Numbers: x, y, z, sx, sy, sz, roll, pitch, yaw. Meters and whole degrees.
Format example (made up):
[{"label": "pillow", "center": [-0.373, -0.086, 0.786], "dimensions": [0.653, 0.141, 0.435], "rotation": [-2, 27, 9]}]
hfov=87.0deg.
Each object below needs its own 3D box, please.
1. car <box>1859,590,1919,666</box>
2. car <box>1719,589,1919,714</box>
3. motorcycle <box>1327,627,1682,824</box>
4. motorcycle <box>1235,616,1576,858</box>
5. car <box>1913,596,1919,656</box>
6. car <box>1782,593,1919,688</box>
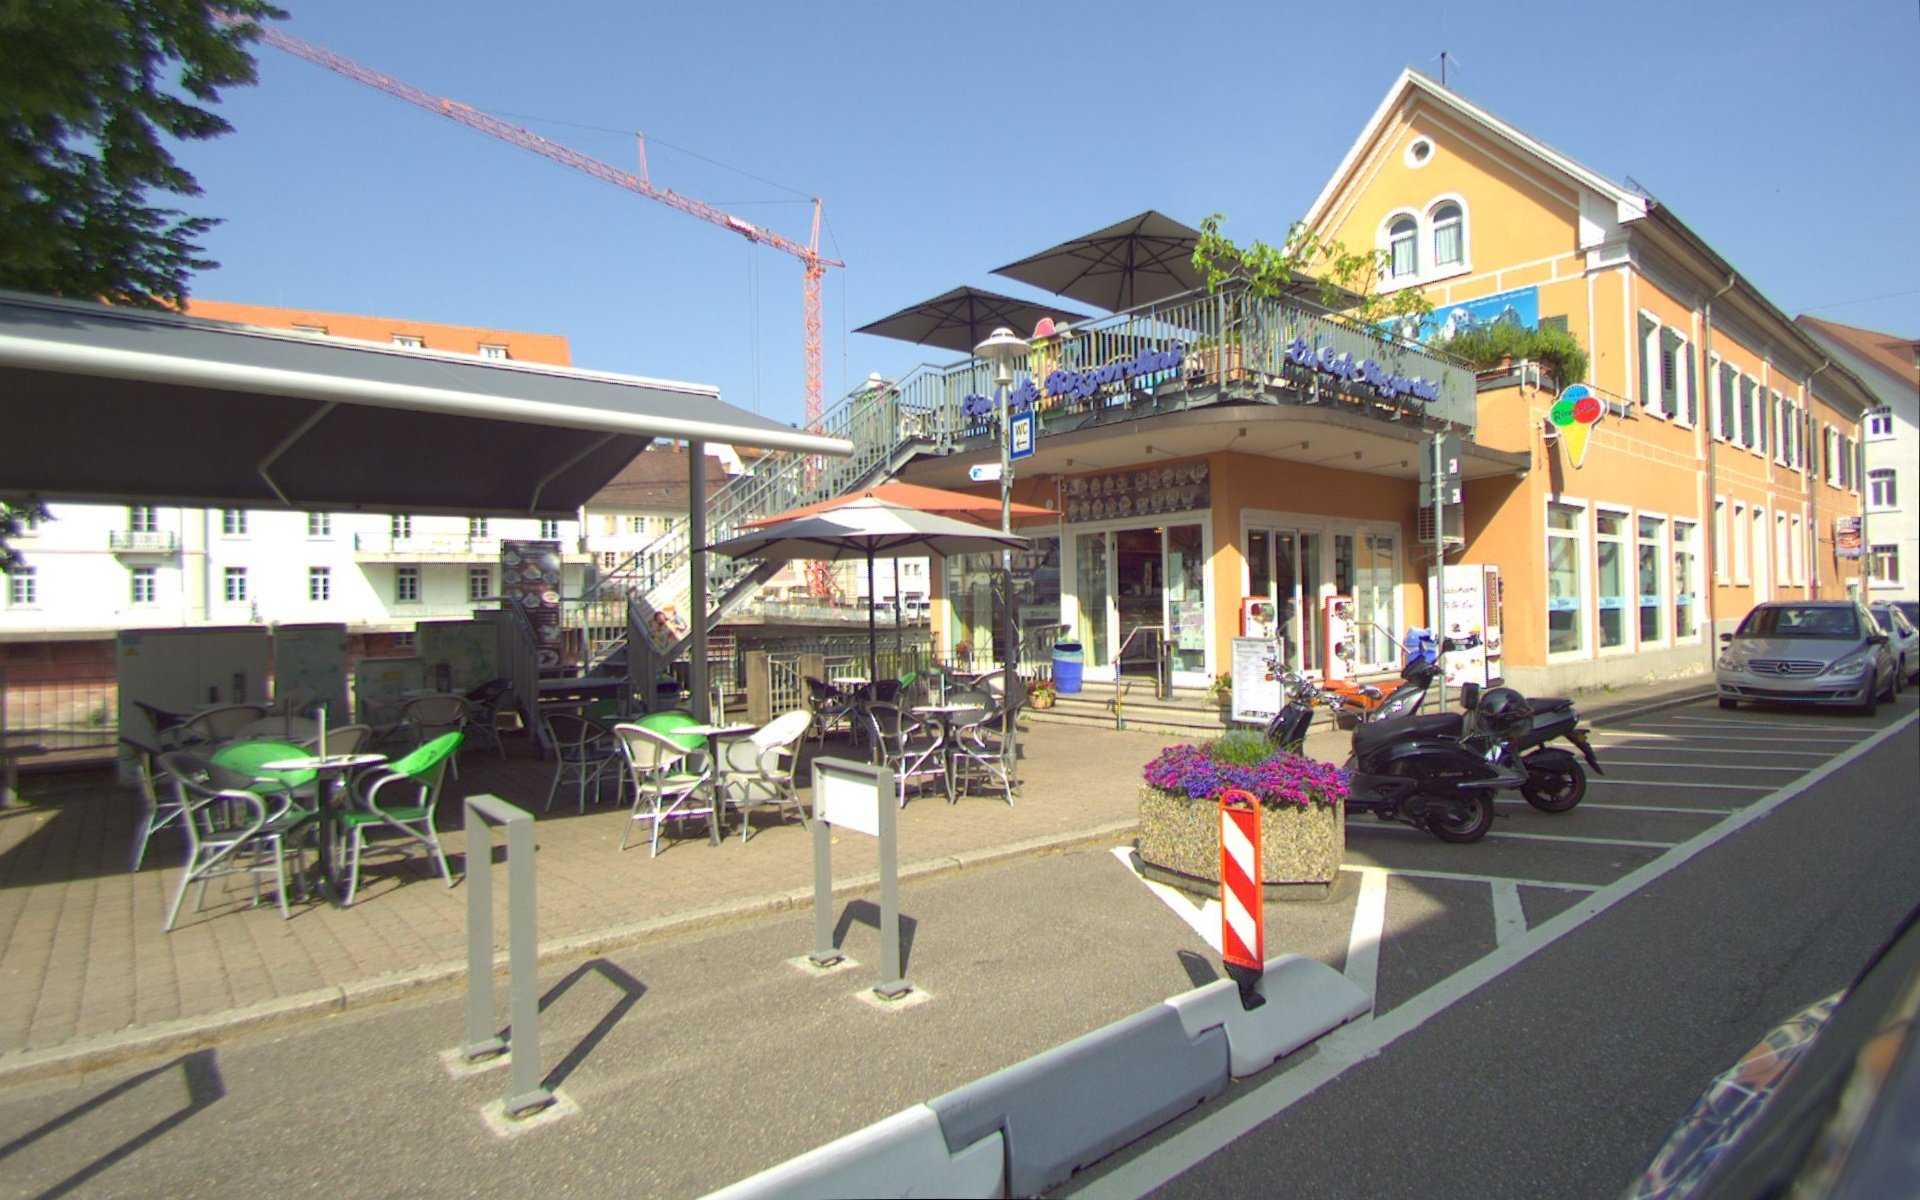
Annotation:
[{"label": "car", "center": [22.449, 0.609, 23.556], "dimensions": [4.175, 1.666, 1.682], "rotation": [0, 0, -40]}, {"label": "car", "center": [13.083, 0.683, 15.306], "dimensions": [4.516, 1.617, 1.747], "rotation": [0, -1, -43]}, {"label": "motorcycle", "center": [3.850, 0.850, 7.370], "dimensions": [2.057, 1.286, 0.926], "rotation": [0, -1, 10]}, {"label": "motorcycle", "center": [2.755, 0.801, 6.527], "dimensions": [1.873, 1.375, 0.912], "rotation": [0, -1, 15]}, {"label": "car", "center": [26.975, 0.686, 27.082], "dimensions": [4.112, 1.559, 1.682], "rotation": [0, 0, -40]}, {"label": "car", "center": [16.826, 0.688, 18.776], "dimensions": [4.030, 1.579, 1.682], "rotation": [0, -1, -40]}]
